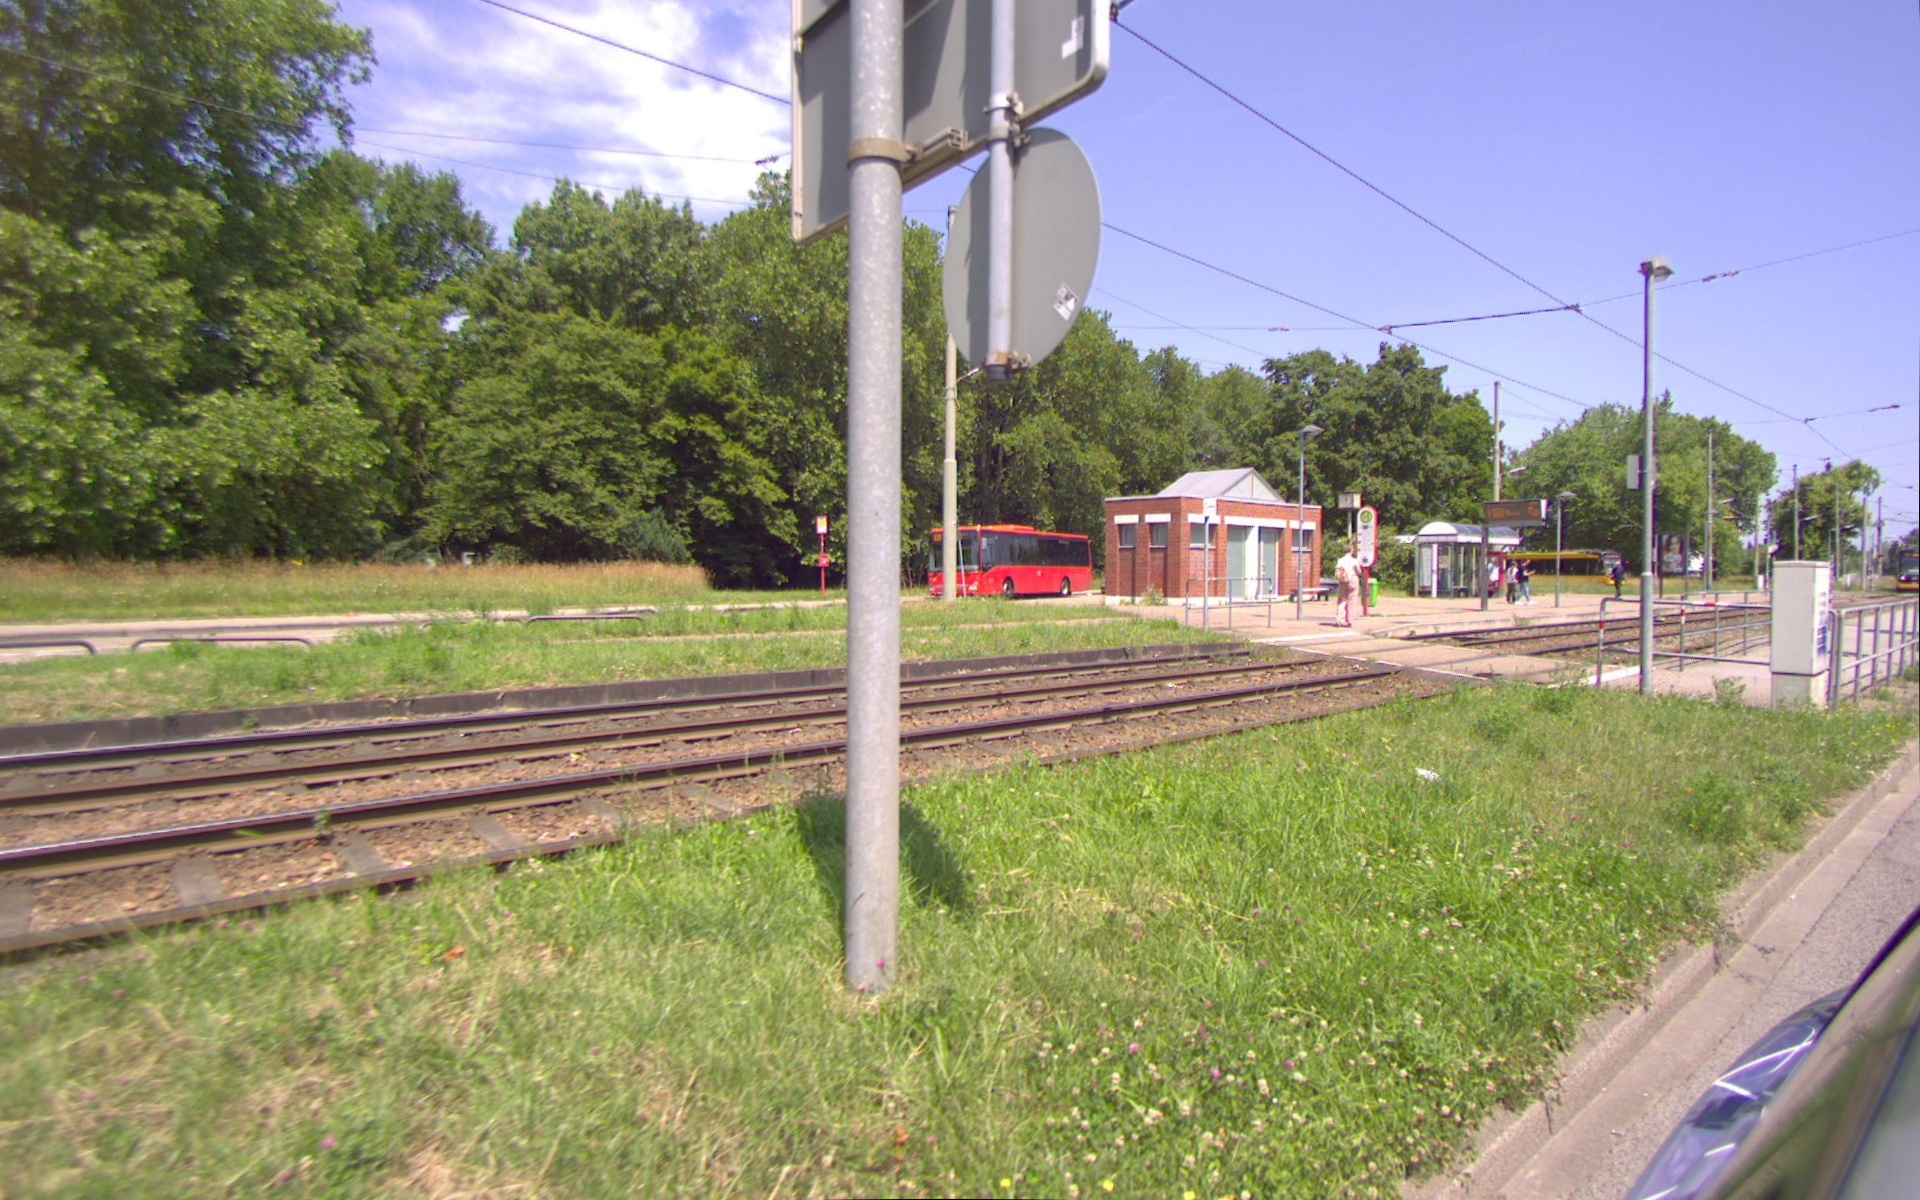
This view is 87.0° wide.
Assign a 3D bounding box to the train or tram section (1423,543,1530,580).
[{"bbox_3d":[55.953,-4.105,110.277,2.659,3.694,13.278,-2,2,-11],"label":"train or tram section"}]

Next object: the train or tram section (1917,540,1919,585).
[{"bbox_3d":[75.898,-2.897,77.801,7.132,3.363,2.524,-2,3,-40],"label":"train or tram section"}]

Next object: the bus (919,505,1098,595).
[{"bbox_3d":[2.600,-2.219,45.590,2.744,3.481,12.319,-1,2,30],"label":"bus"}]

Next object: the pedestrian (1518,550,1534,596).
[{"bbox_3d":[20.999,-1.007,37.558,0.437,1.666,0.361,-1,2,-38],"label":"pedestrian"}]

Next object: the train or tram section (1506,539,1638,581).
[{"bbox_3d":[58.463,-3.765,97.382,2.660,3.694,13.211,-2,2,-10],"label":"train or tram section"}]

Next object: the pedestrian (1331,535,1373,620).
[{"bbox_3d":[8.415,-0.492,21.728,0.633,1.781,0.806,-1,1,36],"label":"pedestrian"}]

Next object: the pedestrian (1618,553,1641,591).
[{"bbox_3d":[31.875,-1.361,48.164,0.646,1.786,0.707,-2,3,-39],"label":"pedestrian"}]

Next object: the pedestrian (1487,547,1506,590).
[{"bbox_3d":[22.668,-1.333,42.757,0.726,1.796,0.382,-3,1,-38],"label":"pedestrian"}]

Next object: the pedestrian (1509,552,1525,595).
[{"bbox_3d":[21.053,-0.995,38.266,0.474,1.616,0.361,-3,1,-38],"label":"pedestrian"}]
